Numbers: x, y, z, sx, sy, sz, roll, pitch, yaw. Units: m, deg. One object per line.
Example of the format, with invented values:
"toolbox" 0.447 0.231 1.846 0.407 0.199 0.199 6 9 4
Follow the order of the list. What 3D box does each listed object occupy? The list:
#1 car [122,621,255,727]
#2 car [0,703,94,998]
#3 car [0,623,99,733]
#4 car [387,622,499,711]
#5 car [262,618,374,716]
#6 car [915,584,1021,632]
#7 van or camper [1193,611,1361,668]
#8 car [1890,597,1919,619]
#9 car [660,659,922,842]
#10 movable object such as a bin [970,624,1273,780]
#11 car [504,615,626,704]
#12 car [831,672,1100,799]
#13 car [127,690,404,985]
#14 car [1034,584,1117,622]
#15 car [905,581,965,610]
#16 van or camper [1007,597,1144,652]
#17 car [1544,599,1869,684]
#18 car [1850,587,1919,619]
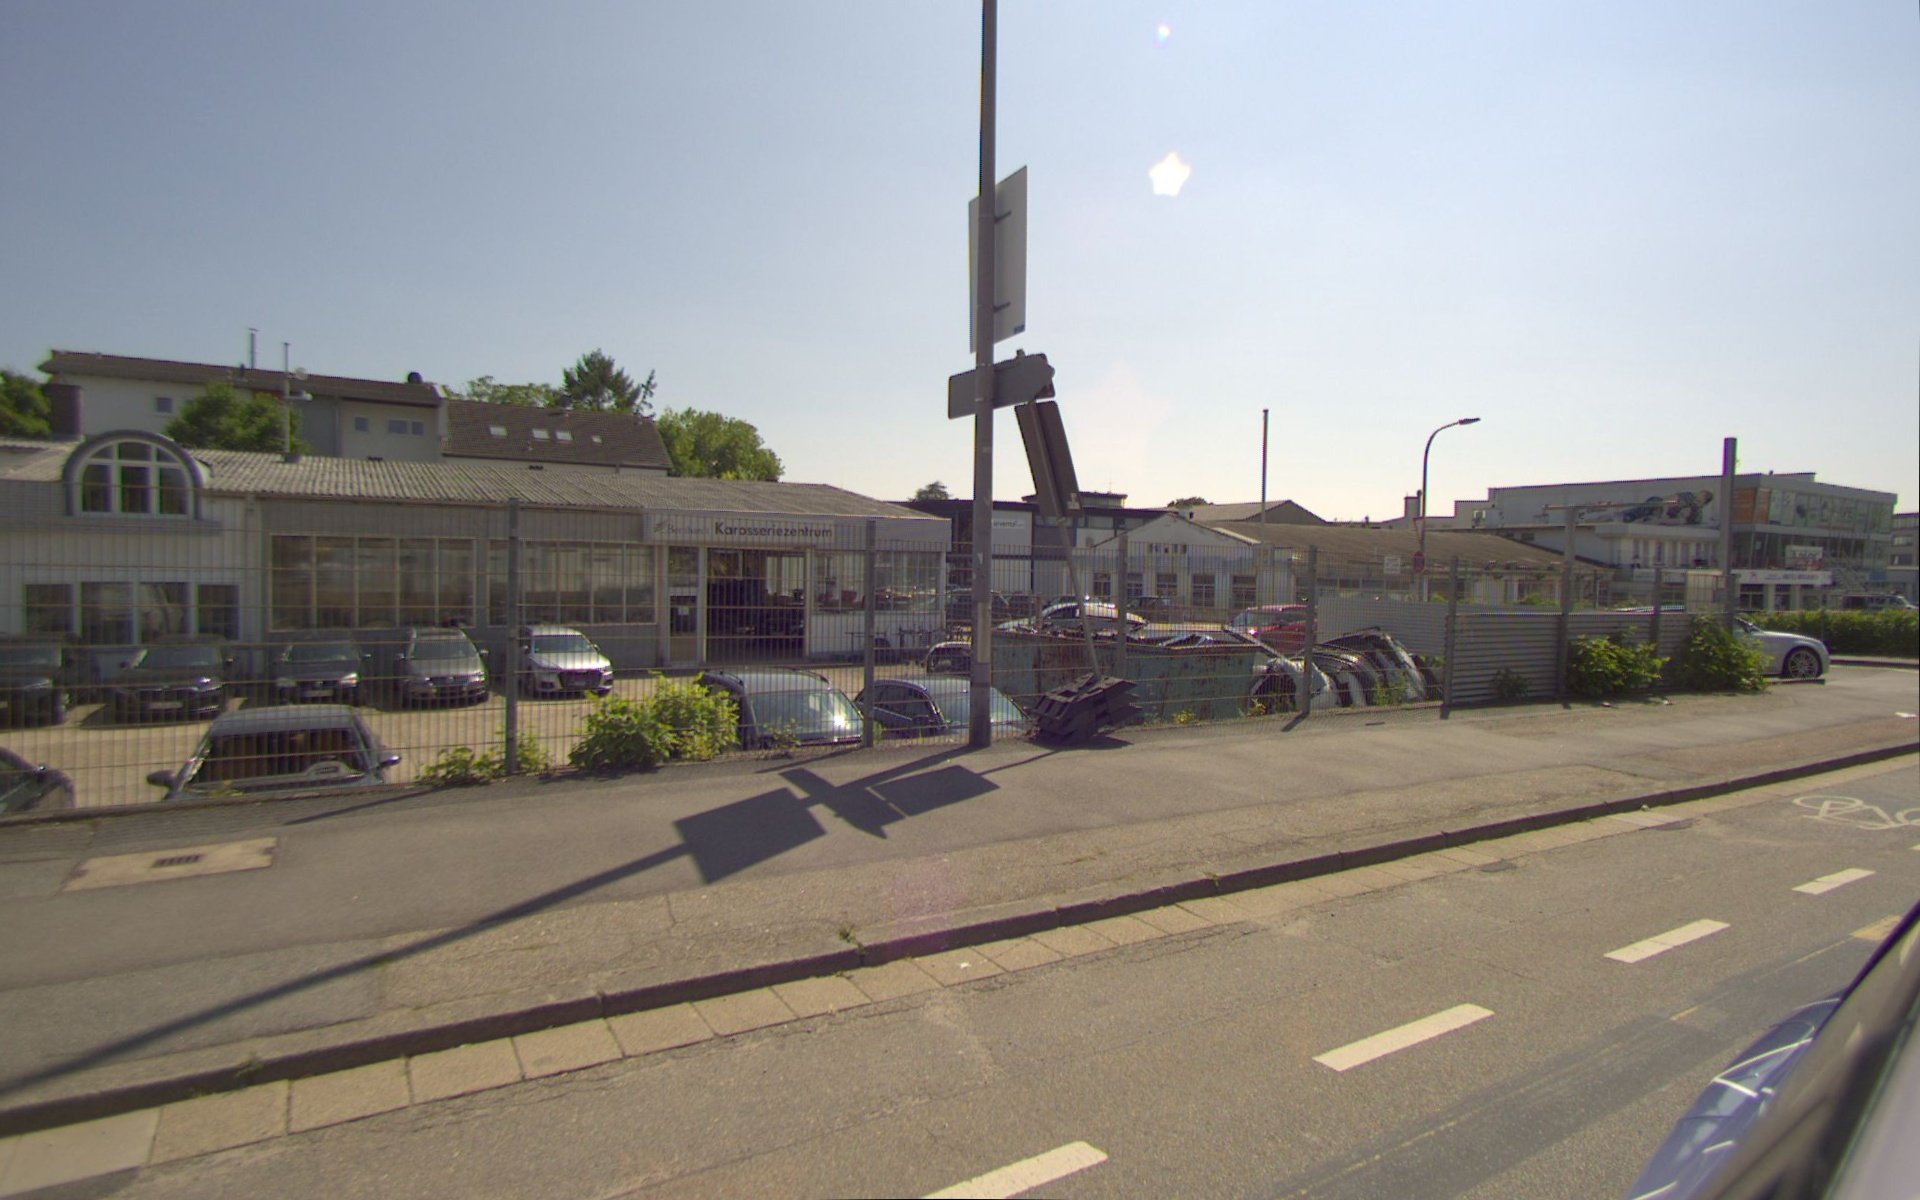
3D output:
"car" -16.111 1.445 21.327 1.962 1.682 4.002 -2 4 -34
"car" -9.454 2.153 9.095 1.961 2.039 4.001 1 -1 -33
"car" -18.587 1.456 19.988 1.962 1.682 4.003 1 3 -34
"car" -12.089 1.460 23.539 1.812 1.533 4.002 -2 4 -34
"car" -14.613 1.412 22.966 1.962 1.682 4.002 -2 4 -34
"car" 0.254 0.296 39.223 3.922 1.668 2.001 2 0 -2
"van or camper" 8.363 1.031 26.628 4.147 1.369 1.999 1 -4 -34
"car" 80.856 0.755 84.636 1.962 1.754 4.120 1 2 -35
"car" -2.380 1.784 13.366 1.961 1.671 4.002 0 1 -33
"movable object such as a bin" 2.364 1.439 16.376 1.961 2.039 5.134 0 -1 -32
"car" -9.835 1.372 25.033 1.962 1.682 4.002 -2 4 -34
"car" -0.060 1.831 14.740 1.962 1.319 3.998 1 -1 -36
"car" -7.035 2.134 10.481 1.961 2.039 4.001 1 -1 -33
"car" 5.800 0.121 51.134 1.962 1.816 4.000 1 0 -35
"car" -1.805 -0.340 73.306 3.918 1.927 1.766 1 1 -28
"van or camper" 3.751 0.780 33.467 4.144 1.560 2.005 0 6 -5
"car" 13.378 0.735 18.337 4.410 1.376 1.958 -1 -2 -2
"car" 75.972 0.239 82.039 2.282 2.448 5.314 1 2 -36
